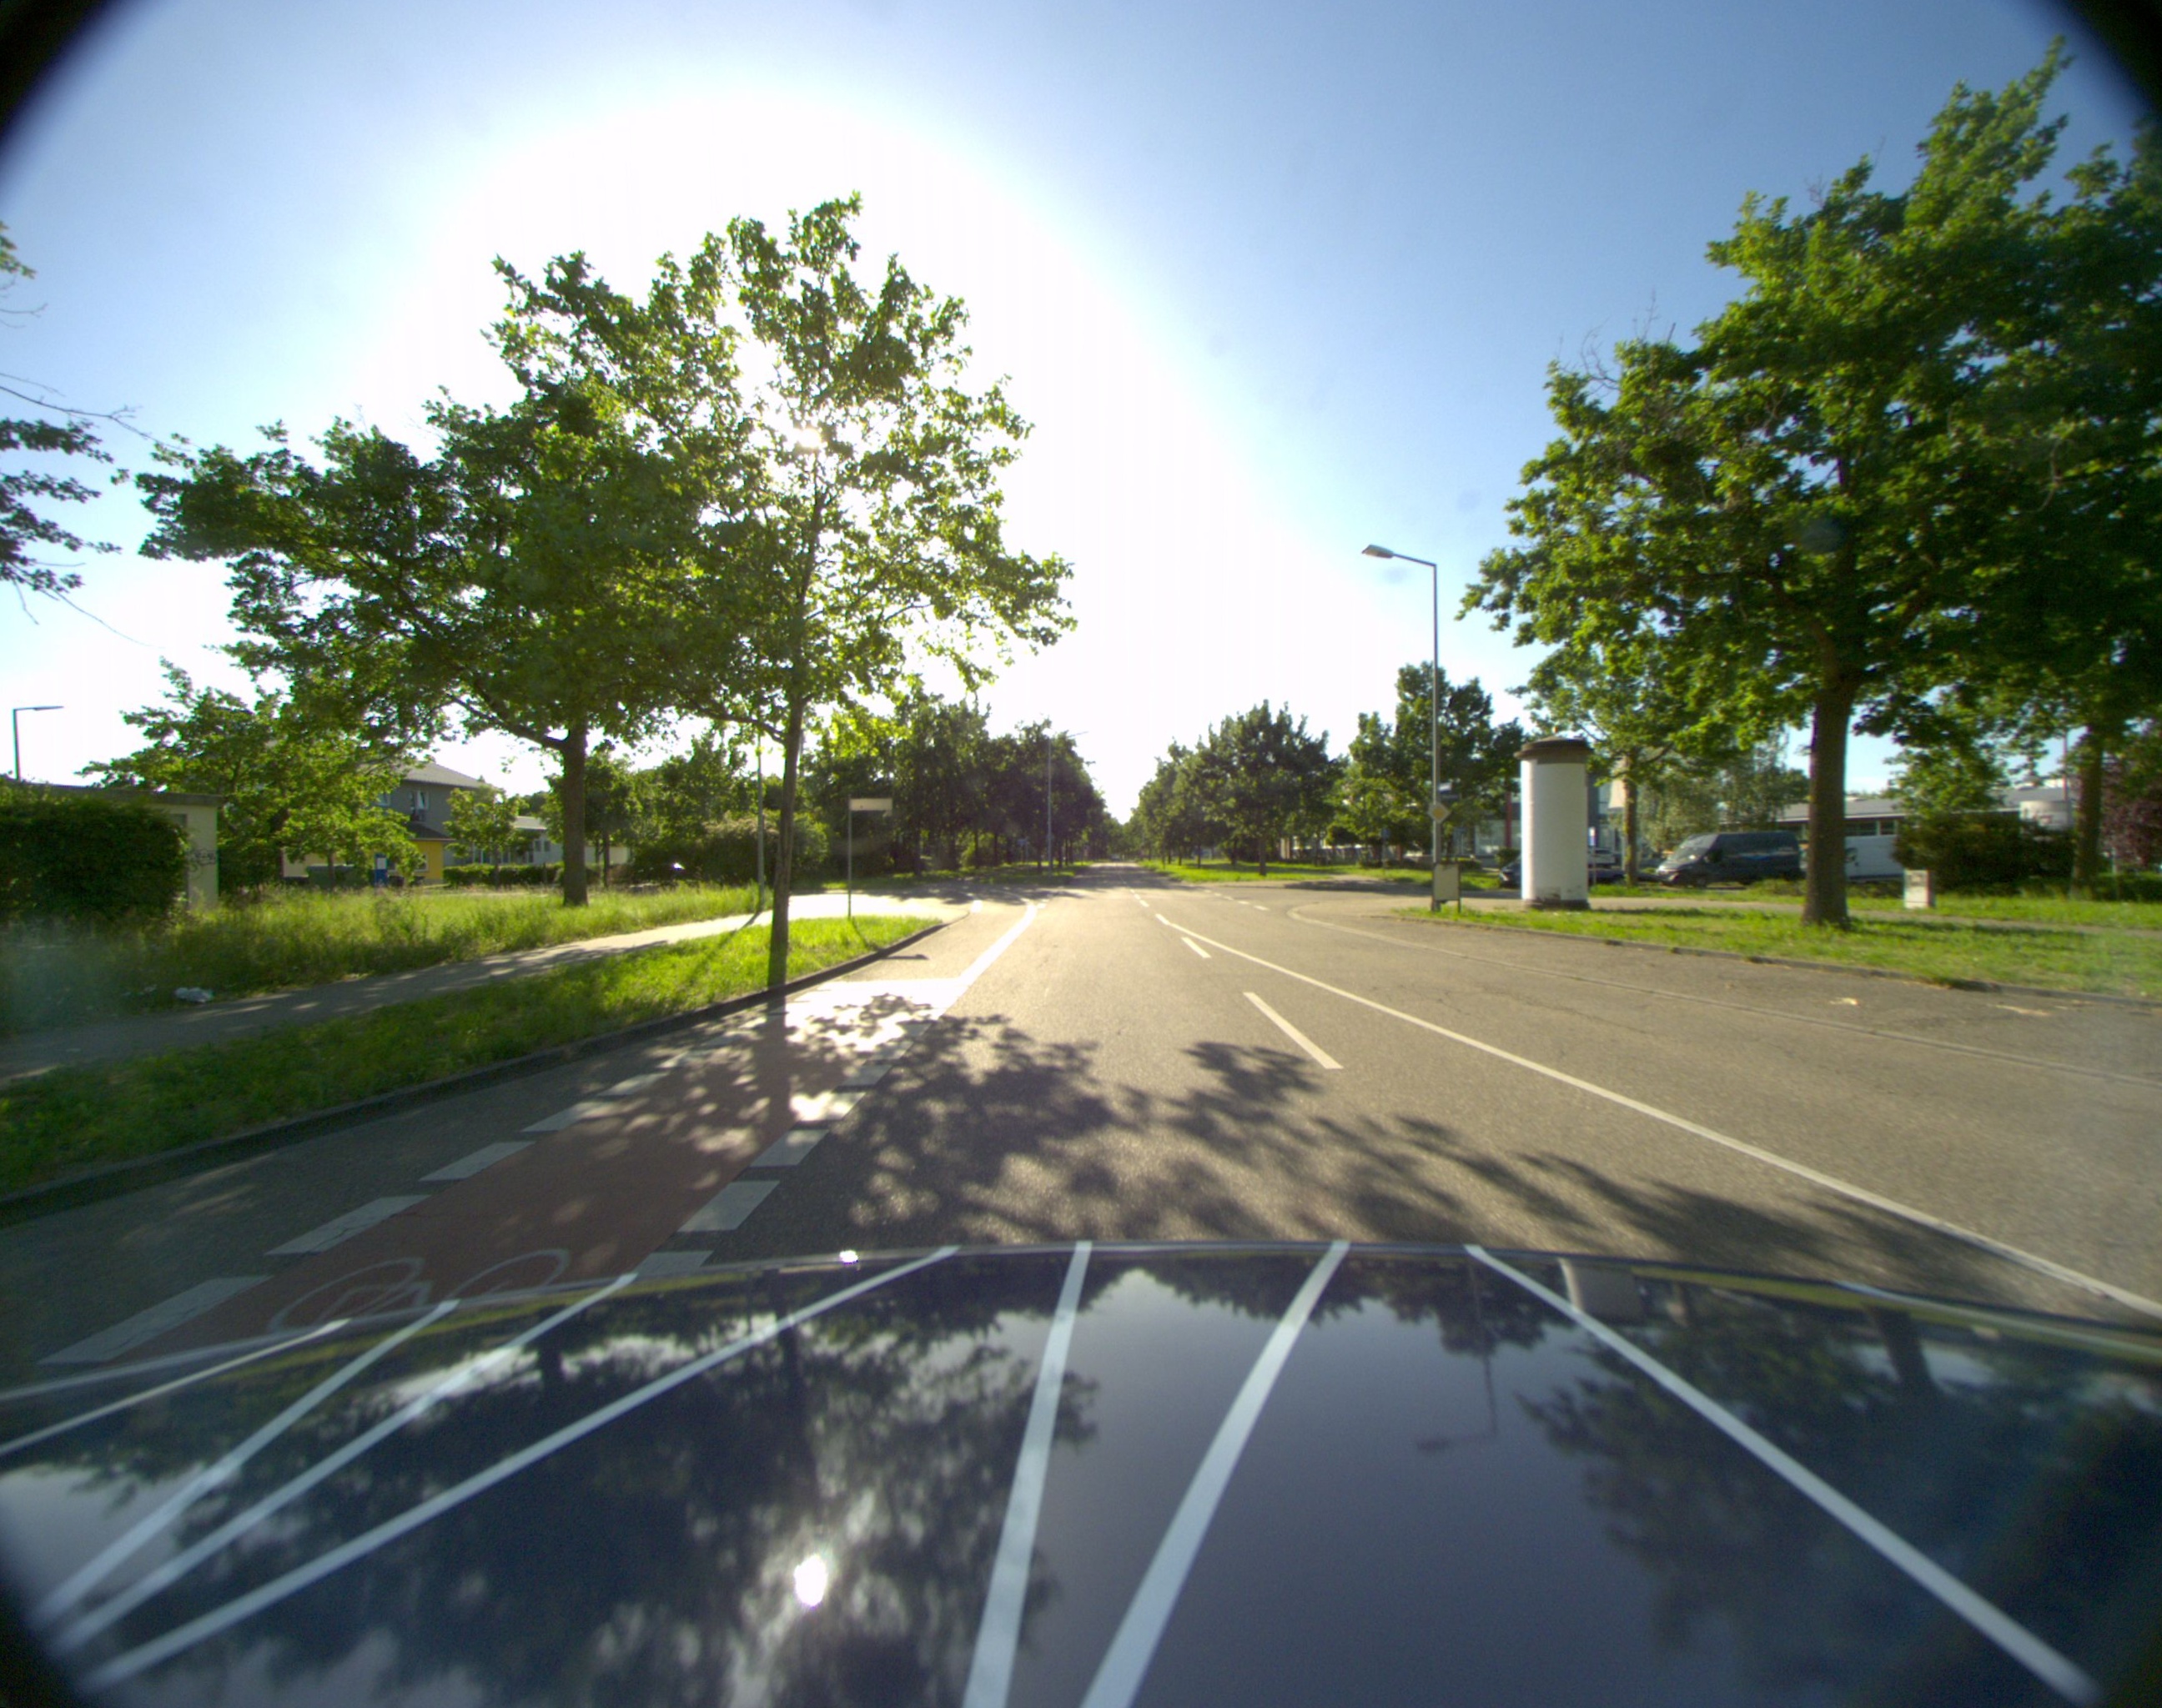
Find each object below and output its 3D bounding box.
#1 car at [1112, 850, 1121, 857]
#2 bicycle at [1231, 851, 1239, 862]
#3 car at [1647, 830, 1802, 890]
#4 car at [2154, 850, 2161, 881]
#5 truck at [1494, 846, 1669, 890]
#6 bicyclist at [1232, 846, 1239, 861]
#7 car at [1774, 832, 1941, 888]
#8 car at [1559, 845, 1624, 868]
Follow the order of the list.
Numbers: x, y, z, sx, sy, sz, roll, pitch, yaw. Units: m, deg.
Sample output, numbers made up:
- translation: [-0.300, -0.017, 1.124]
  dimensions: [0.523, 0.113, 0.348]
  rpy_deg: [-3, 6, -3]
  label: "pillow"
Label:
- translation: [8.356, -0.161, 178.505]
  dimensions: [1.827, 1.477, 3.999]
  rpy_deg: [-2, 1, 0]
  label: "car"
- translation: [17.099, 0.292, 84.389]
  dimensions: [0.552, 1.155, 2.334]
  rpy_deg: [-2, 1, 2]
  label: "bicycle"
- translation: [31.648, 0.256, 37.453]
  dimensions: [5.878, 2.687, 2.300]
  rpy_deg: [-2, 1, -4]
  label: "car"
- translation: [56.871, 0.566, 38.541]
  dimensions: [3.142, 1.564, 1.509]
  rpy_deg: [-1, 1, -6]
  label: "car"
- translation: [24.103, 0.632, 36.752]
  dimensions: [7.130, 2.038, 2.140]
  rpy_deg: [0, 1, -2]
  label: "truck"
- translation: [17.108, -0.025, 84.292]
  dimensions: [0.665, 1.619, 0.659]
  rpy_deg: [-2, 2, 2]
  label: "bicyclist"
- translation: [38.917, 0.261, 38.170]
  dimensions: [6.356, 2.501, 2.300]
  rpy_deg: [-2, 1, -4]
  label: "car"
- translation: [38.298, 0.170, 57.137]
  dimensions: [1.999, 1.486, 4.296]
  rpy_deg: [-2, 3, -1]
  label: "car"
